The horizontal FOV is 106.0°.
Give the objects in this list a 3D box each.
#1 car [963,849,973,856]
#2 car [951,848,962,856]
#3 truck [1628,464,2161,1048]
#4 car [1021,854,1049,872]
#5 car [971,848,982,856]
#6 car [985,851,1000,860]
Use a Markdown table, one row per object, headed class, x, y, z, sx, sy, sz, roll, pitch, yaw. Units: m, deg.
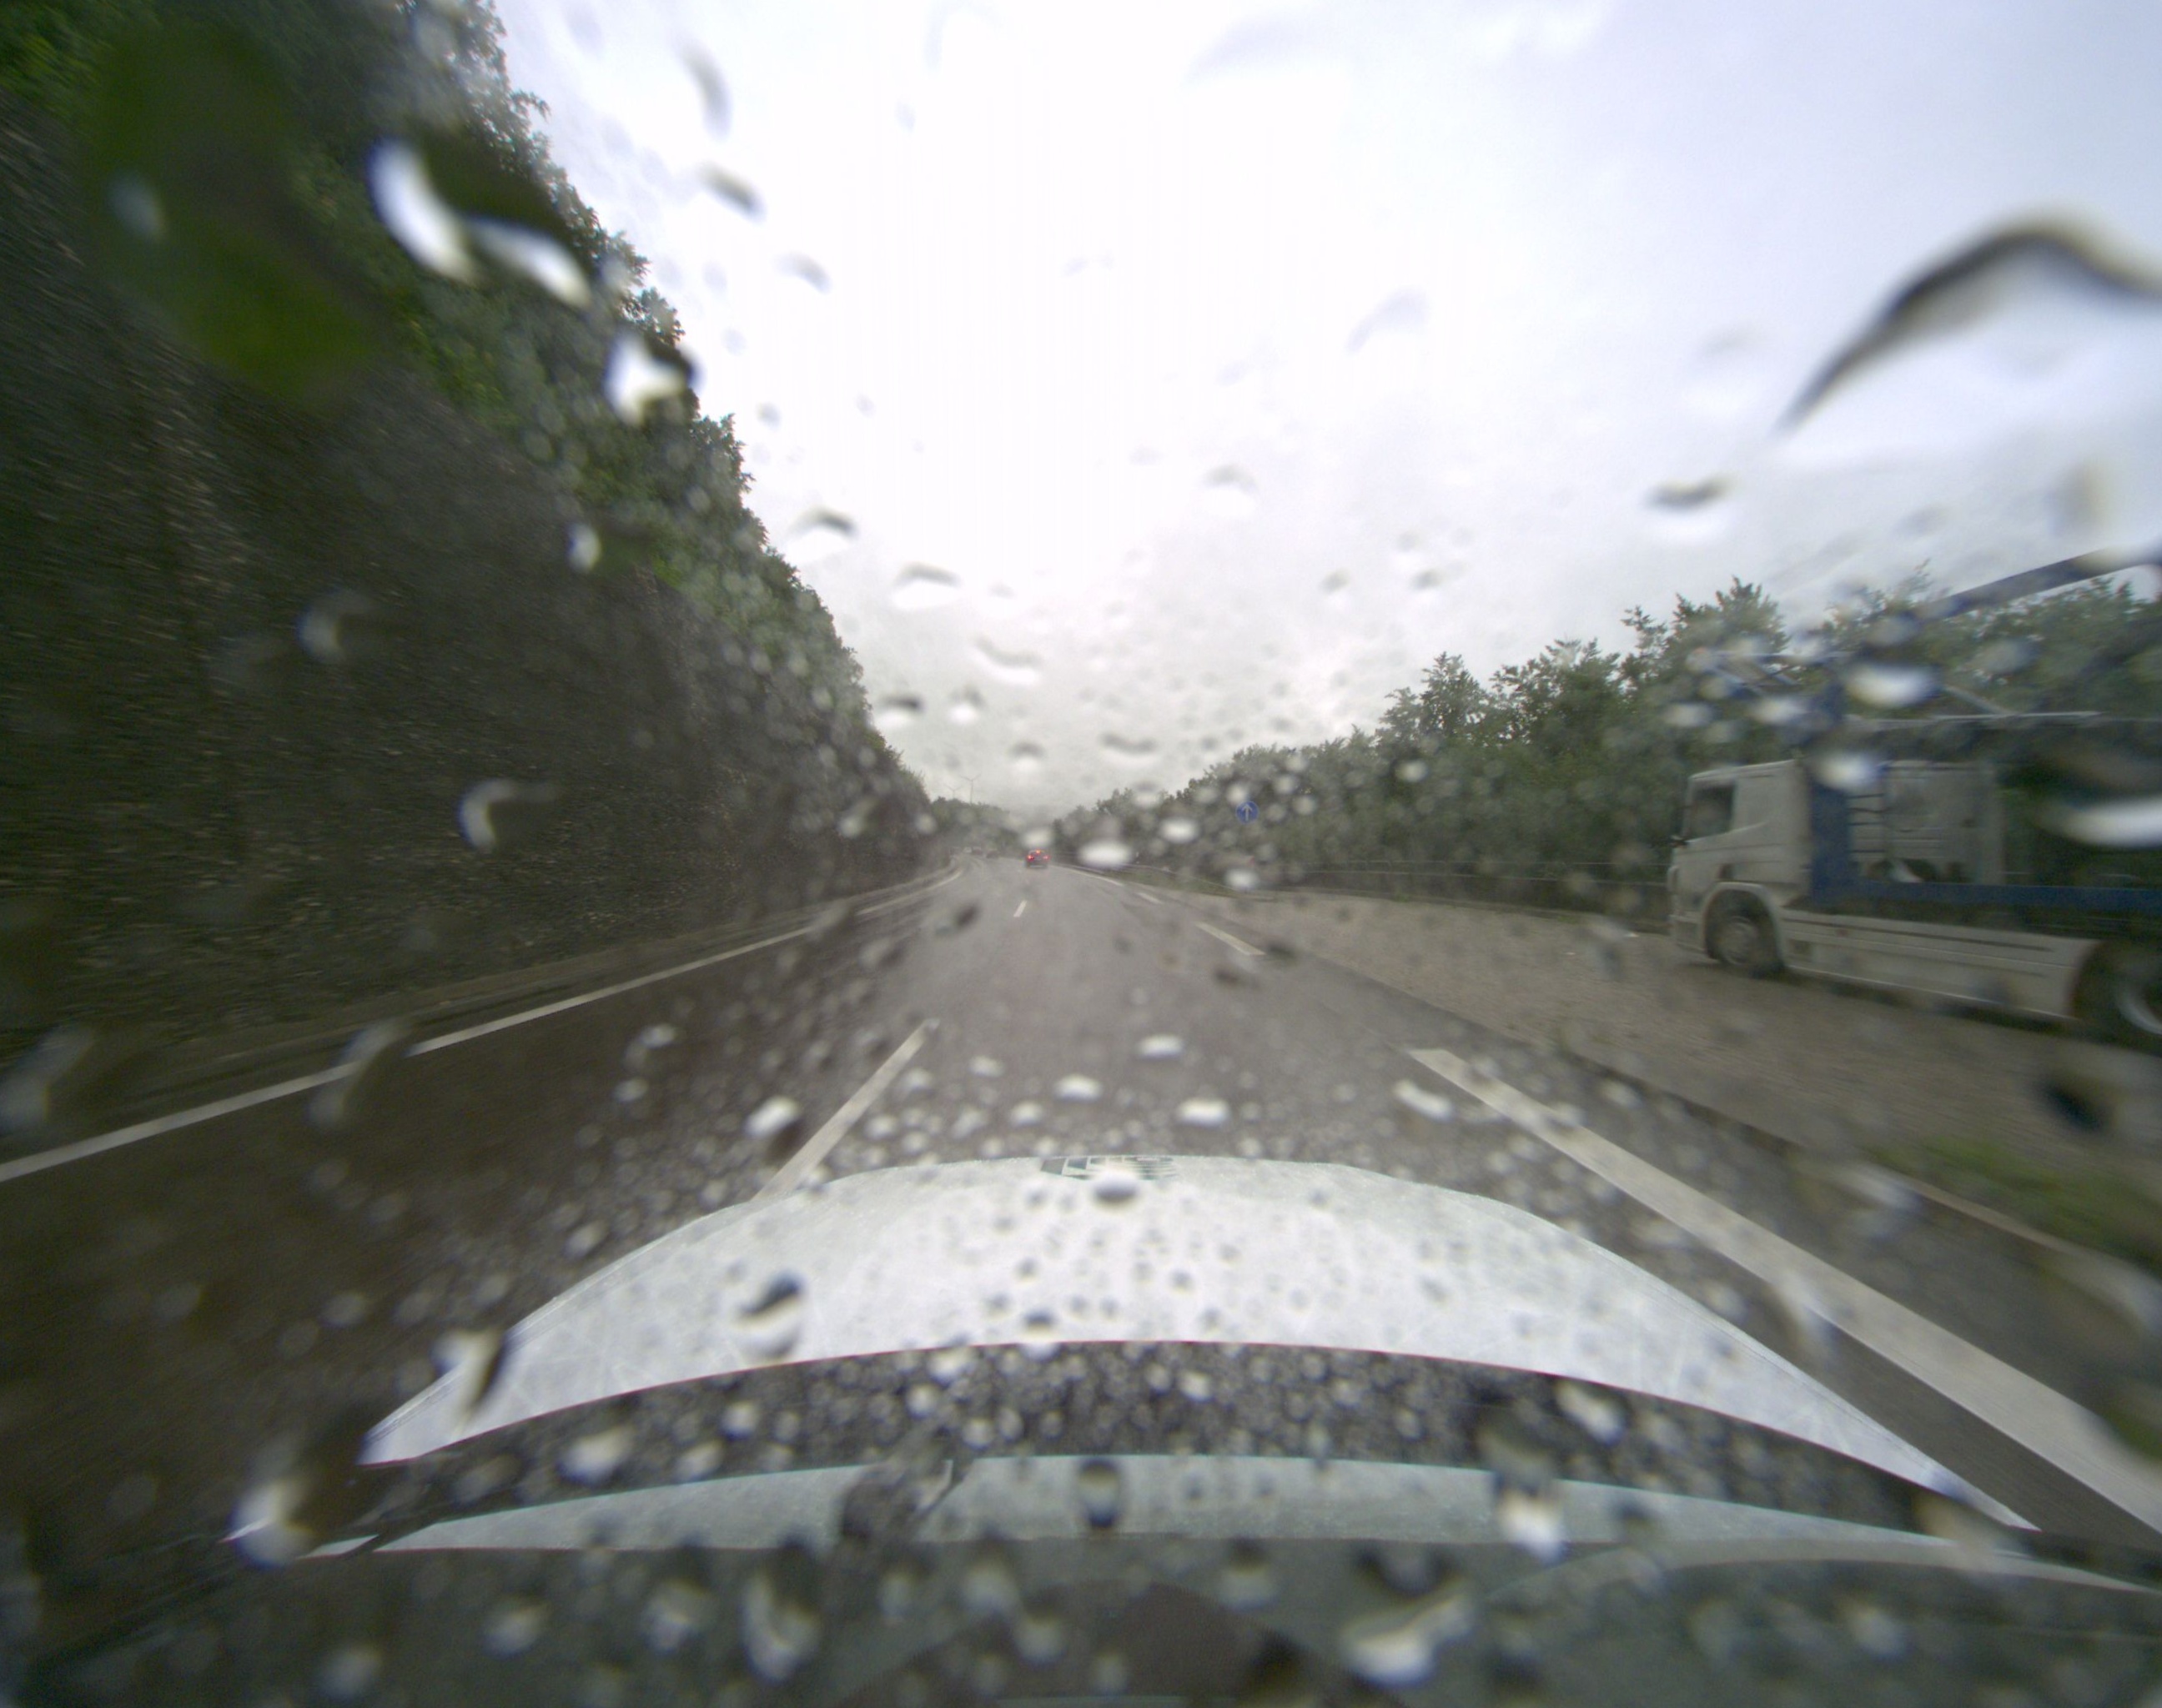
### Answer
| class | x | y | z | sx | sy | sz | roll | pitch | yaw |
| --- | --- | --- | --- | --- | --- | --- | --- | --- | --- |
| car | -24.982 | -0.297 | 180.127 | 1.906 | 1.499 | 3.983 | 1 | 0 | -13 |
| car | -23.848 | -0.422 | 155.843 | 1.905 | 1.499 | 3.984 | 1 | 0 | -12 |
| truck | 9.370 | -0.714 | 8.390 | 2.886 | 4.245 | 6.882 | -1 | 0 | 1 |
| car | -3.994 | 0.745 | 70.345 | 1.904 | 1.499 | 3.986 | 1 | 0 | -10 |
| car | -20.361 | -0.341 | 158.975 | 1.905 | 1.499 | 3.984 | 1 | 0 | -12 |
| car | -14.174 | 0.242 | 130.312 | 1.905 | 1.499 | 3.983 | 1 | 0 | -13 |
